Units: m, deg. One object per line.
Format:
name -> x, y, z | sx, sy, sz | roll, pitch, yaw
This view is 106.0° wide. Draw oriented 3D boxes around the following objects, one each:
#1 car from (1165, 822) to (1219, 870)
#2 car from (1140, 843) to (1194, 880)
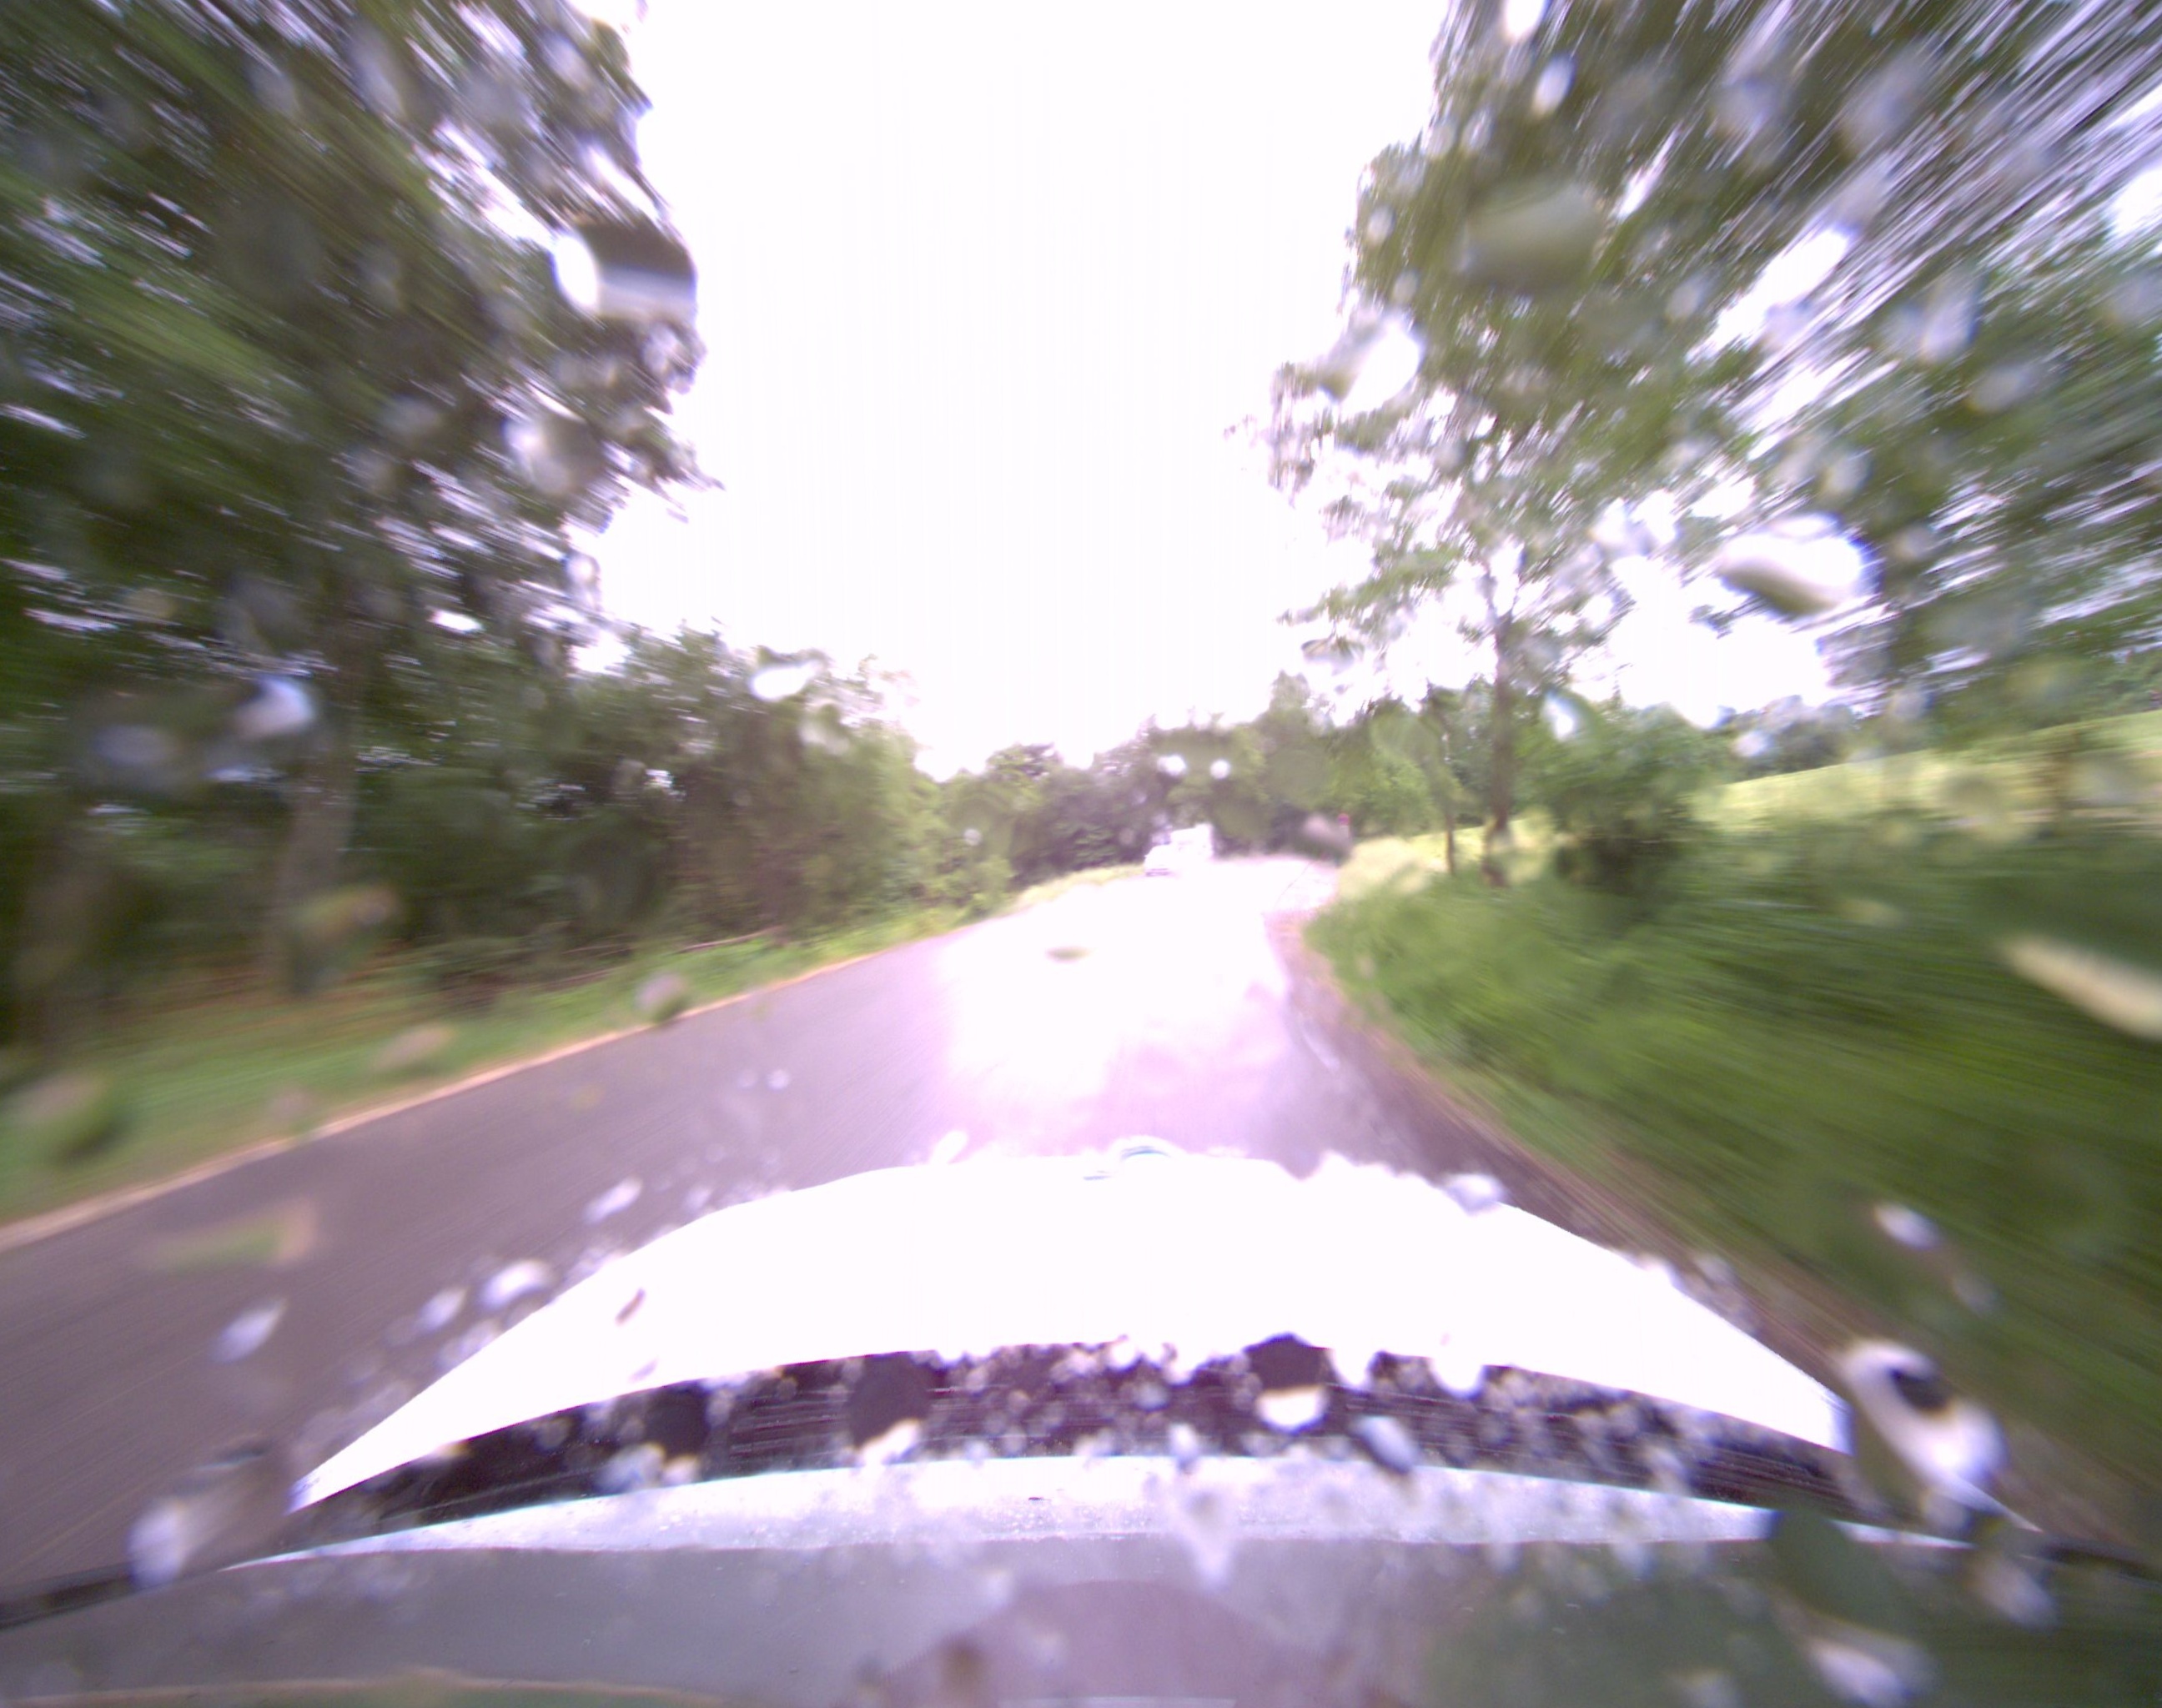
car -> 7.185, -0.601, 52.273 | 2.255, 2.696, 6.077 | -6, 1, 17
car -> 4.553, 0.348, 42.674 | 1.846, 1.595, 4.516 | -5, 1, 17
